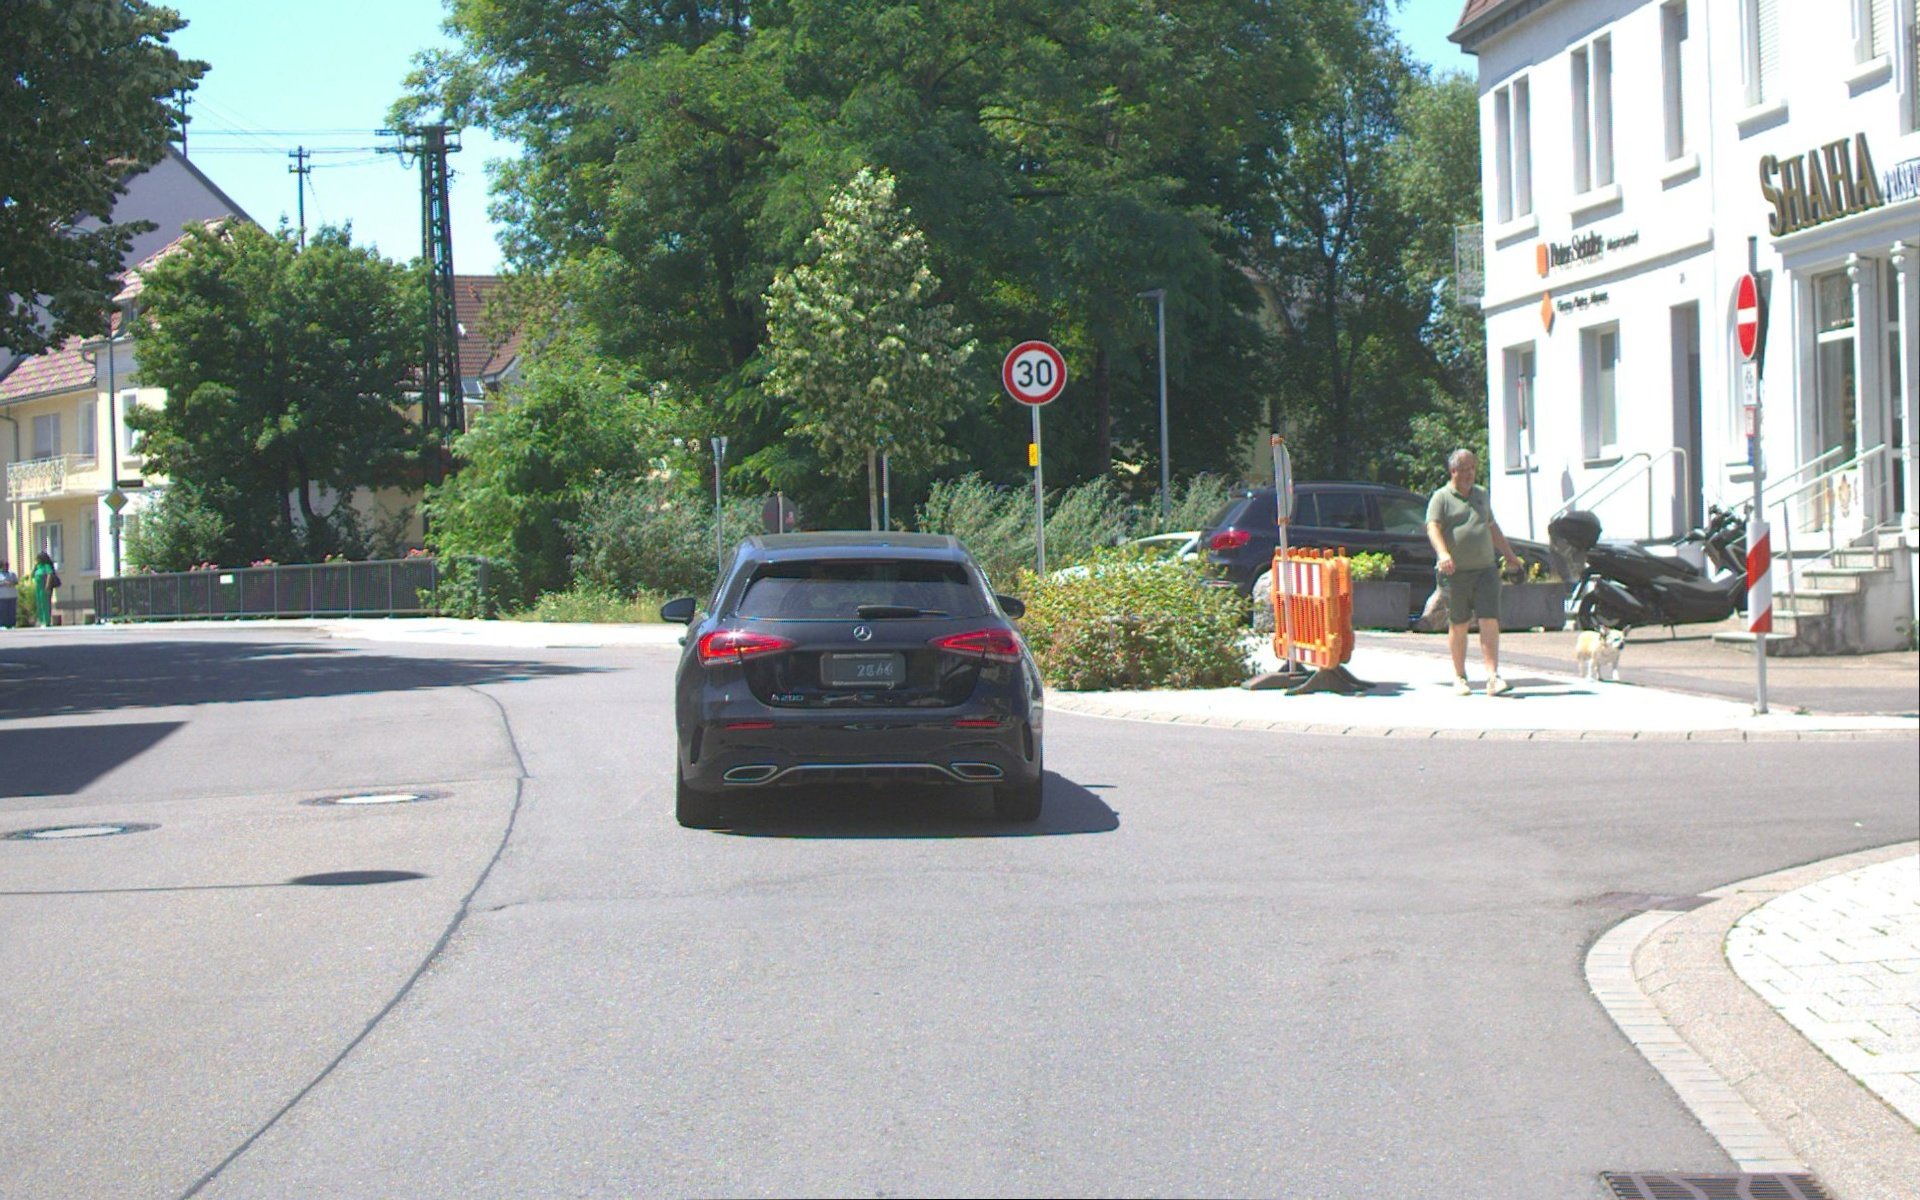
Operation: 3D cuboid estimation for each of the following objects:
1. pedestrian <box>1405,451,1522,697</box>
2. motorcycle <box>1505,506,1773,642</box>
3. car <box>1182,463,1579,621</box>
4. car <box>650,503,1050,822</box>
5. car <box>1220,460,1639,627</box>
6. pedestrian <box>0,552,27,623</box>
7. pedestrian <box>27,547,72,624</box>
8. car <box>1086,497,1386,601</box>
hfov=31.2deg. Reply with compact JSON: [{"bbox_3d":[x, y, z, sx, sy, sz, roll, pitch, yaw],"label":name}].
[{"bbox_3d":[3.748,-0.209,25.636,0.746,1.790,0.844,-1,2,2],"label":"pedestrian"},{"bbox_3d":[6.529,-0.261,33.104,2.376,1.271,0.856,-1,1,-5],"label":"motorcycle"},{"bbox_3d":[4.659,-0.634,38.412,4.074,1.710,1.856,0,0,-7],"label":"car"},{"bbox_3d":[-0.555,0.332,17.988,1.827,1.437,4.000,-1,-1,-1],"label":"car"},{"bbox_3d":[4.937,-0.586,36.450,4.074,1.710,1.856,0,0,-7],"label":"car"},{"bbox_3d":[-21.958,-0.278,79.205,0.614,1.607,0.837,-2,0,-35],"label":"pedestrian"},{"bbox_3d":[-20.820,-0.339,78.611,0.701,1.735,0.661,-1,0,42],"label":"pedestrian"},{"bbox_3d":[4.001,-0.720,49.412,4.191,1.345,1.860,0,4,-42],"label":"car"}]
